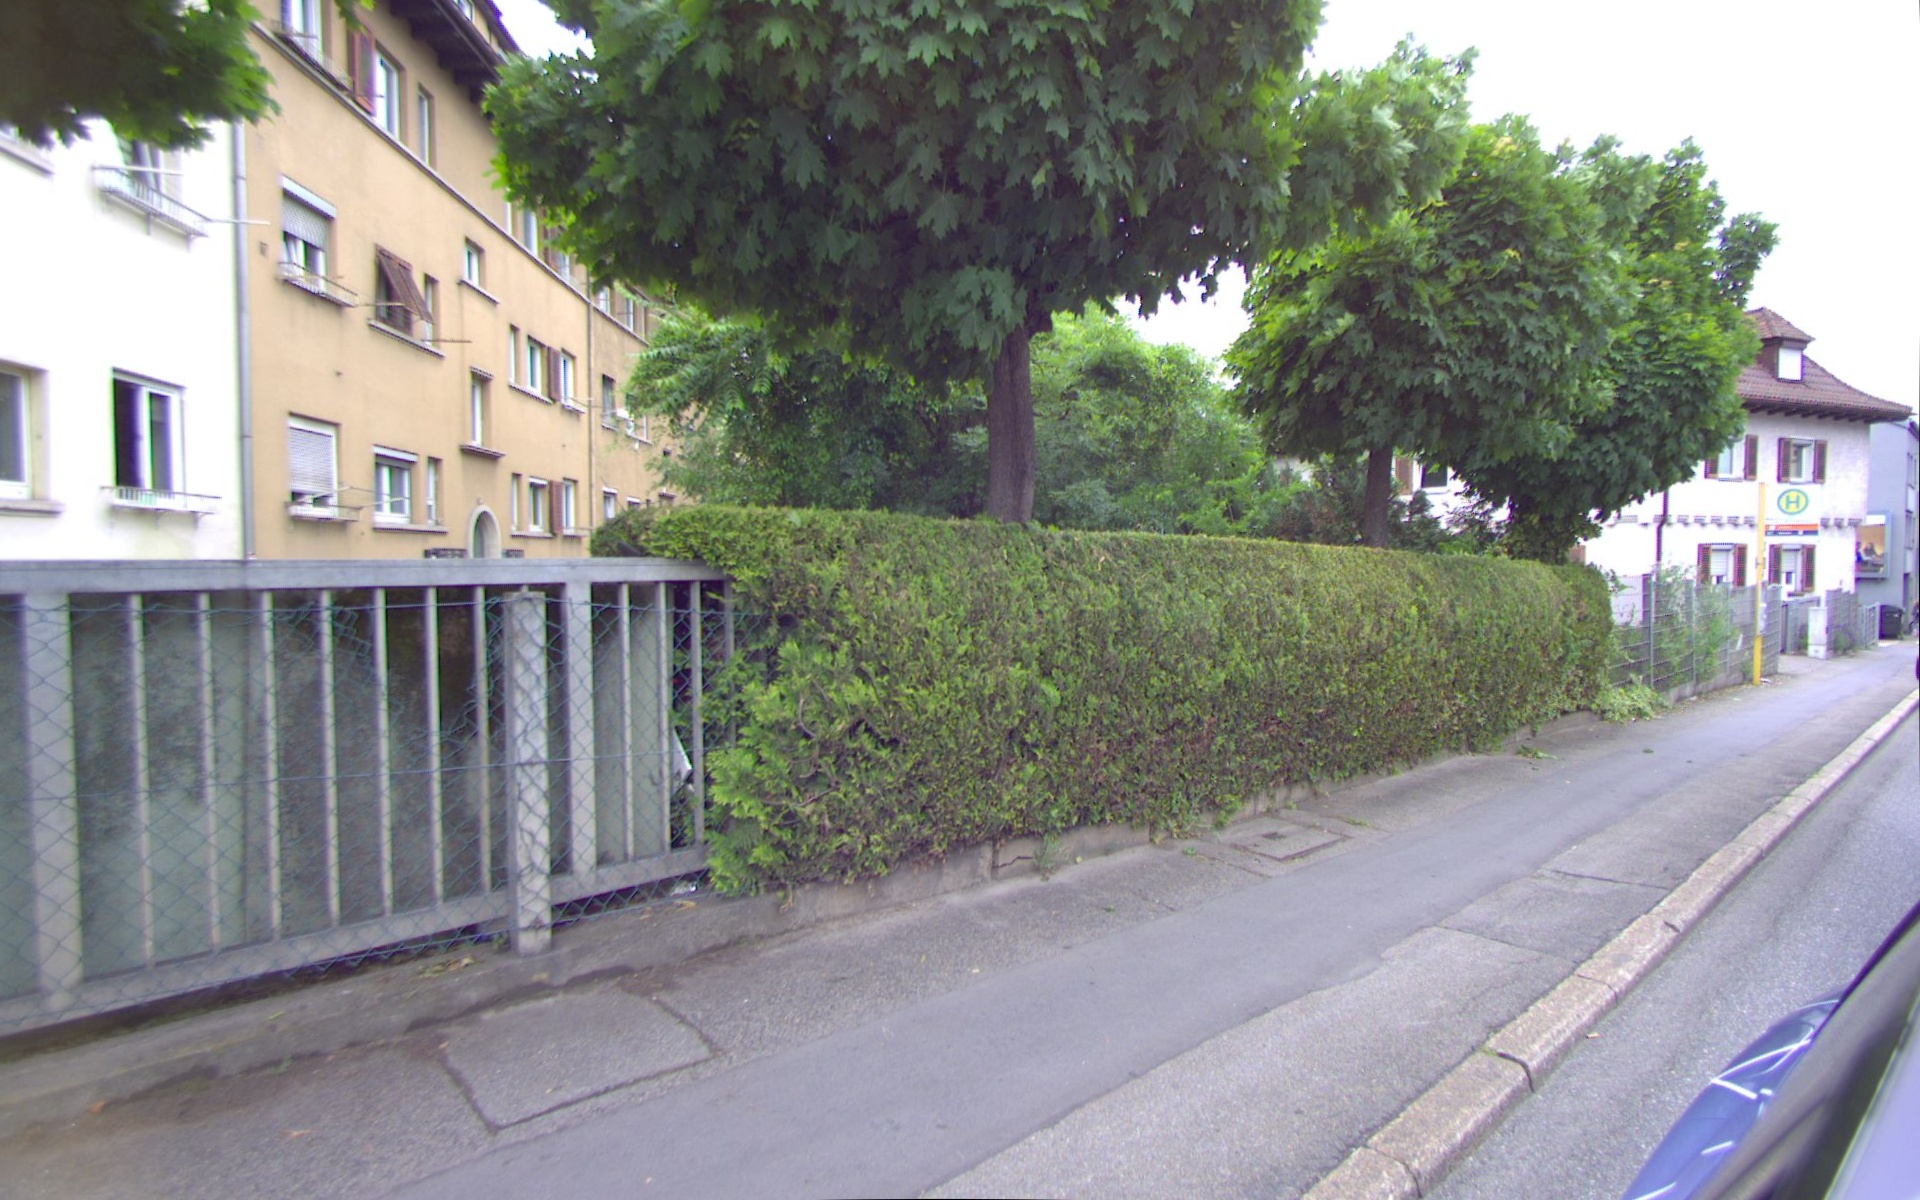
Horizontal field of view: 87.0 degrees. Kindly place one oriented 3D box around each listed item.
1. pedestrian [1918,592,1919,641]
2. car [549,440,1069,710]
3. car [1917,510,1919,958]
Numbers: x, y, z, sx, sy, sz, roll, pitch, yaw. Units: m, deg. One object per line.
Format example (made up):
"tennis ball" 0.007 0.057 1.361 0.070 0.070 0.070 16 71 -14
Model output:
"pedestrian" 36.563 0.625 38.077 0.643 1.863 0.585 1 0 33
"car" -0.961 -0.160 7.332 3.381 1.478 1.698 -1 0 -43
"car" 5.814 0.556 4.469 4.629 1.804 1.861 -1 0 -41
